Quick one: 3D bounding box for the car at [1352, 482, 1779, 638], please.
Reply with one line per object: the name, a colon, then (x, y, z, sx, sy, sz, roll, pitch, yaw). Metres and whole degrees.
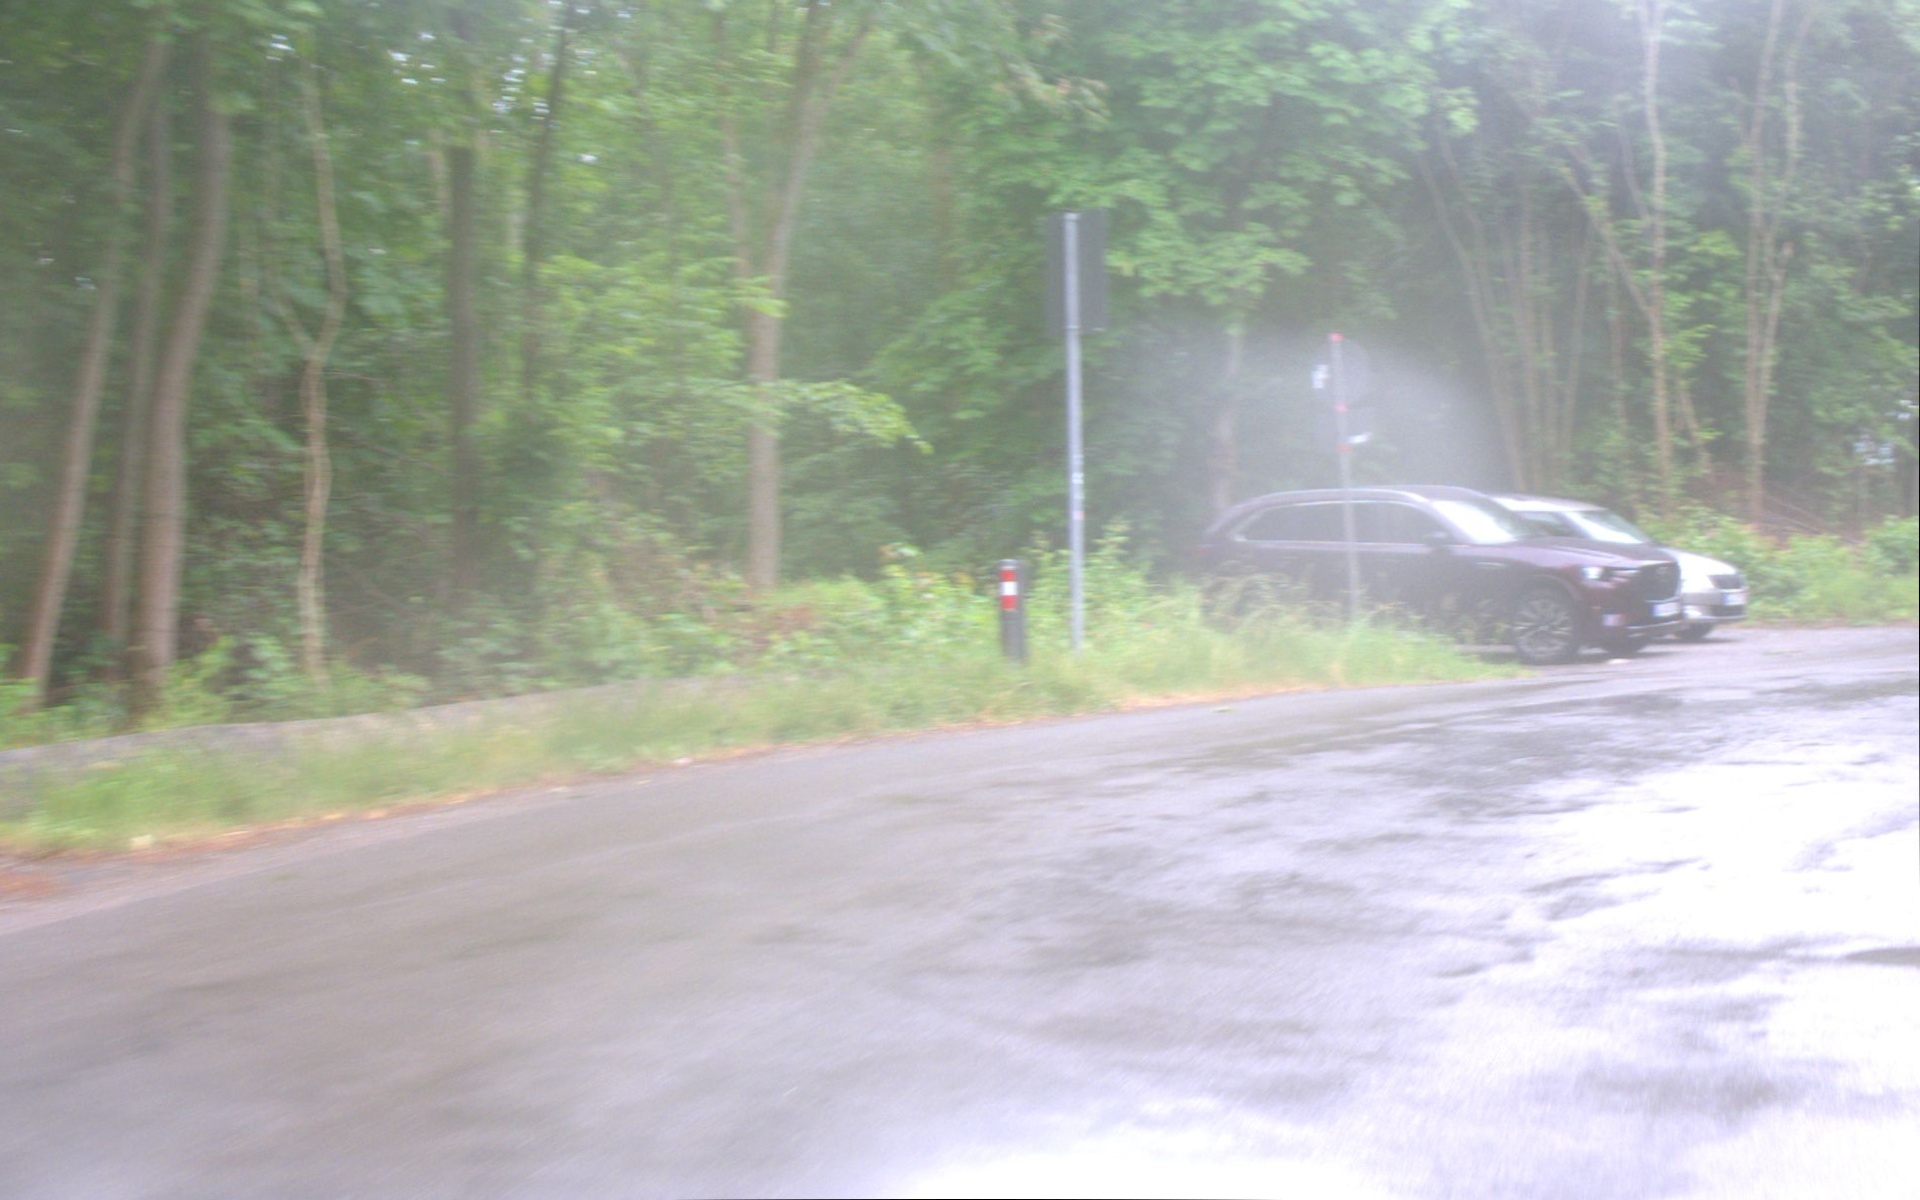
car: (6.468, -0.443, 36.926, 4.145, 1.549, 1.770, 0, 3, 39)

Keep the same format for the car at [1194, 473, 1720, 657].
car: (4.884, -0.359, 34.148, 4.835, 1.671, 1.872, 0, 3, 37)
